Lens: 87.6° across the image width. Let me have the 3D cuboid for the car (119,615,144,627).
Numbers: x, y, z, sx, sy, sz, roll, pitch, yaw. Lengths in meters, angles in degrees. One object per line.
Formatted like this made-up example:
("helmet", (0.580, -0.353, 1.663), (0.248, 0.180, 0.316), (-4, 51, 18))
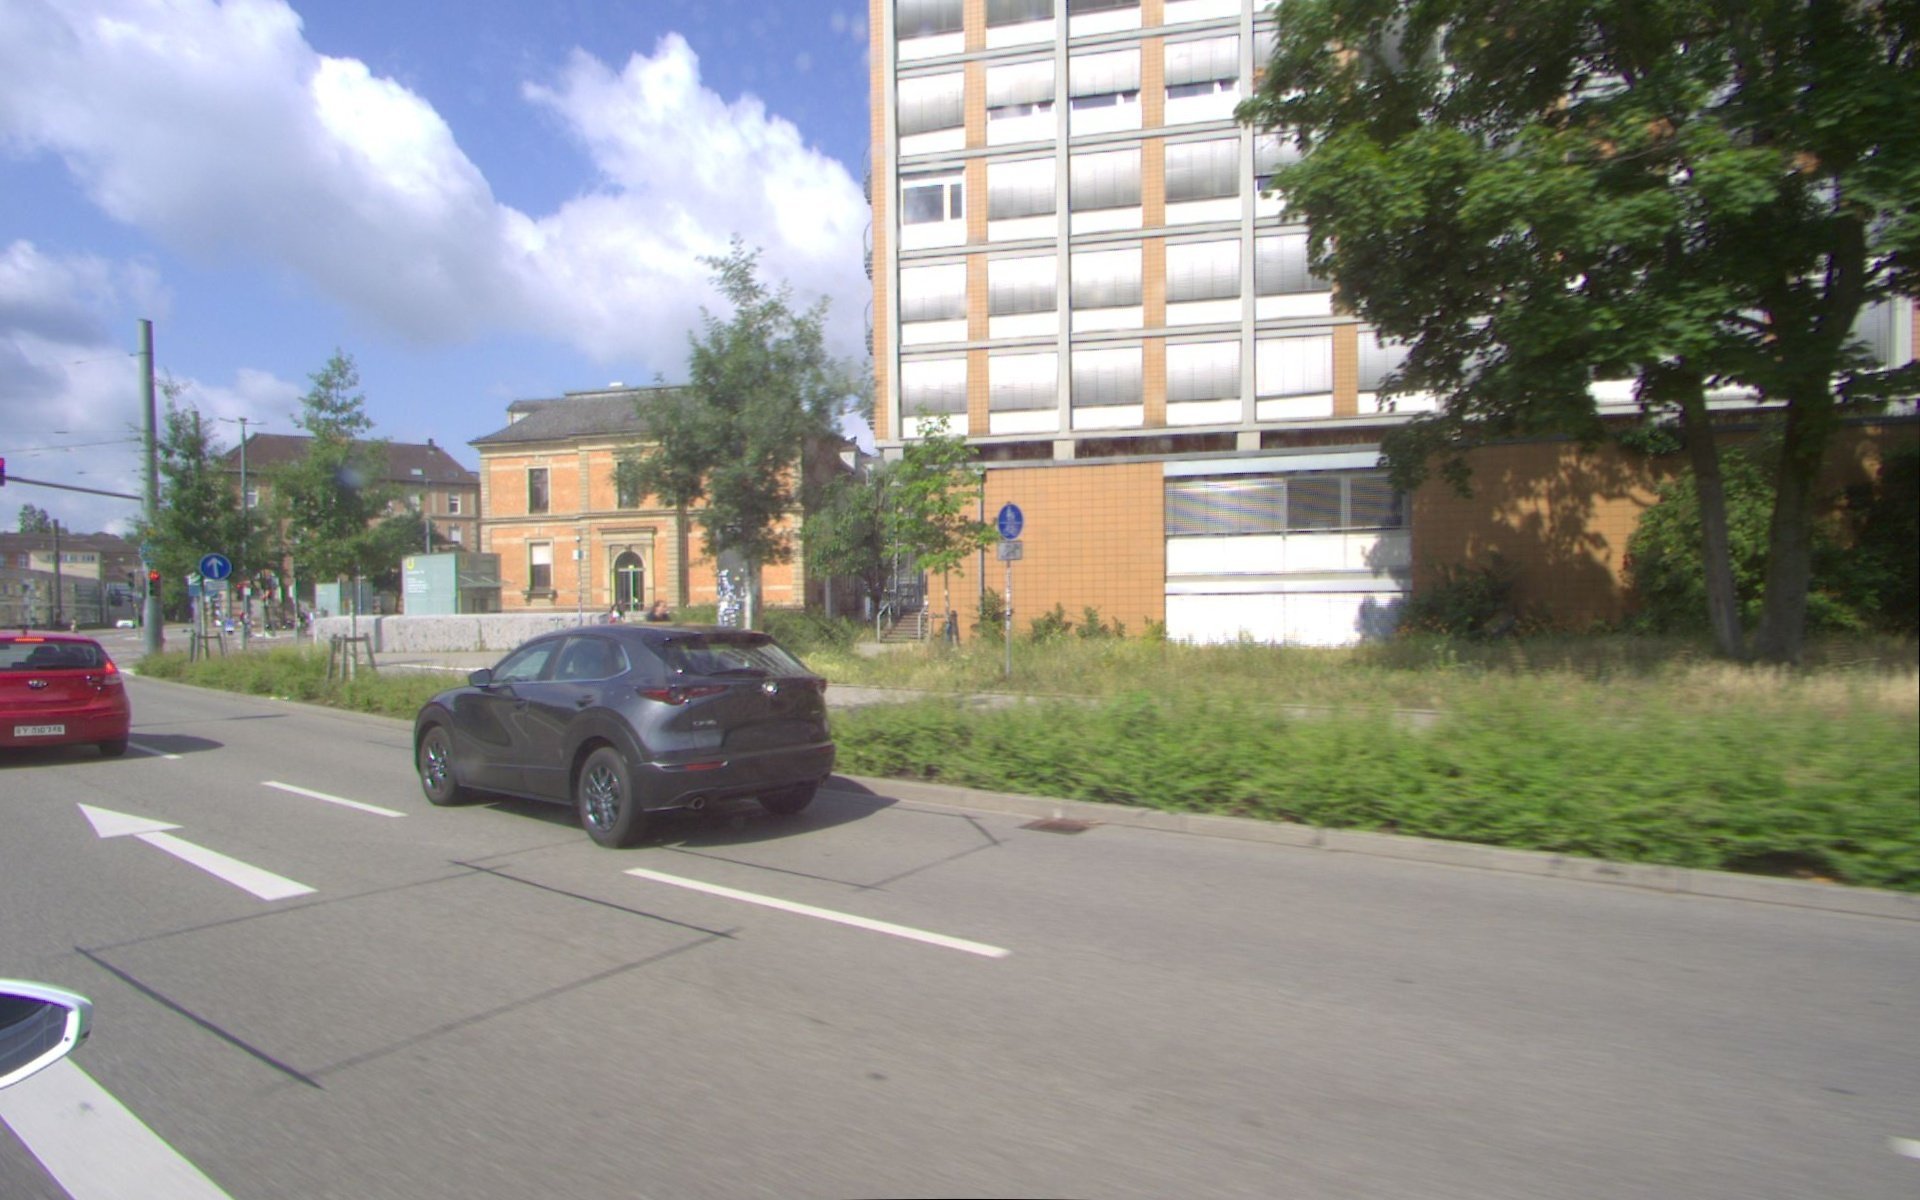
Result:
("car", (-106.407, 2.727, 128.692), (1.973, 1.461, 3.976), (0, 0, -33))

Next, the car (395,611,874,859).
("car", (-2.814, 0.899, 8.201), (4.155, 1.527, 1.799), (-2, -2, 39))

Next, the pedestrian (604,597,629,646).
("pedestrian", (-12.224, 0.762, 35.635), (0.752, 1.709, 0.880), (-1, 0, -14))

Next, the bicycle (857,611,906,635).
("bicycle", (-3.504, 1.022, 44.888), (2.031, 1.087, 1.037), (0, 0, 5))

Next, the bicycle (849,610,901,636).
("bicycle", (-3.599, 0.980, 42.434), (2.031, 1.087, 1.037), (0, 0, 5))

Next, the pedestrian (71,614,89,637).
("pedestrian", (-60.489, 1.724, 68.828), (0.661, 1.556, 0.675), (0, 0, 1))

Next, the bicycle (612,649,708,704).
("bicycle", (-5.036, 1.259, 16.749), (1.767, 0.822, 0.622), (-1, 1, 39))

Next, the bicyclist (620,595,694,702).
("bicyclist", (-5.088, 0.790, 16.816), (0.953, 1.725, 0.732), (0, 2, 38))

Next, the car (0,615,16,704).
("car", (-18.280, 1.033, 17.622), (4.282, 1.492, 1.840), (-1, 0, 39))

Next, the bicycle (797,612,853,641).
("bicycle", (-5.207, 1.017, 38.587), (2.031, 1.087, 0.666), (0, 0, 5))

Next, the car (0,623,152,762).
("car", (-11.498, 1.011, 12.081), (4.015, 1.458, 1.810), (-1, -1, 37))
